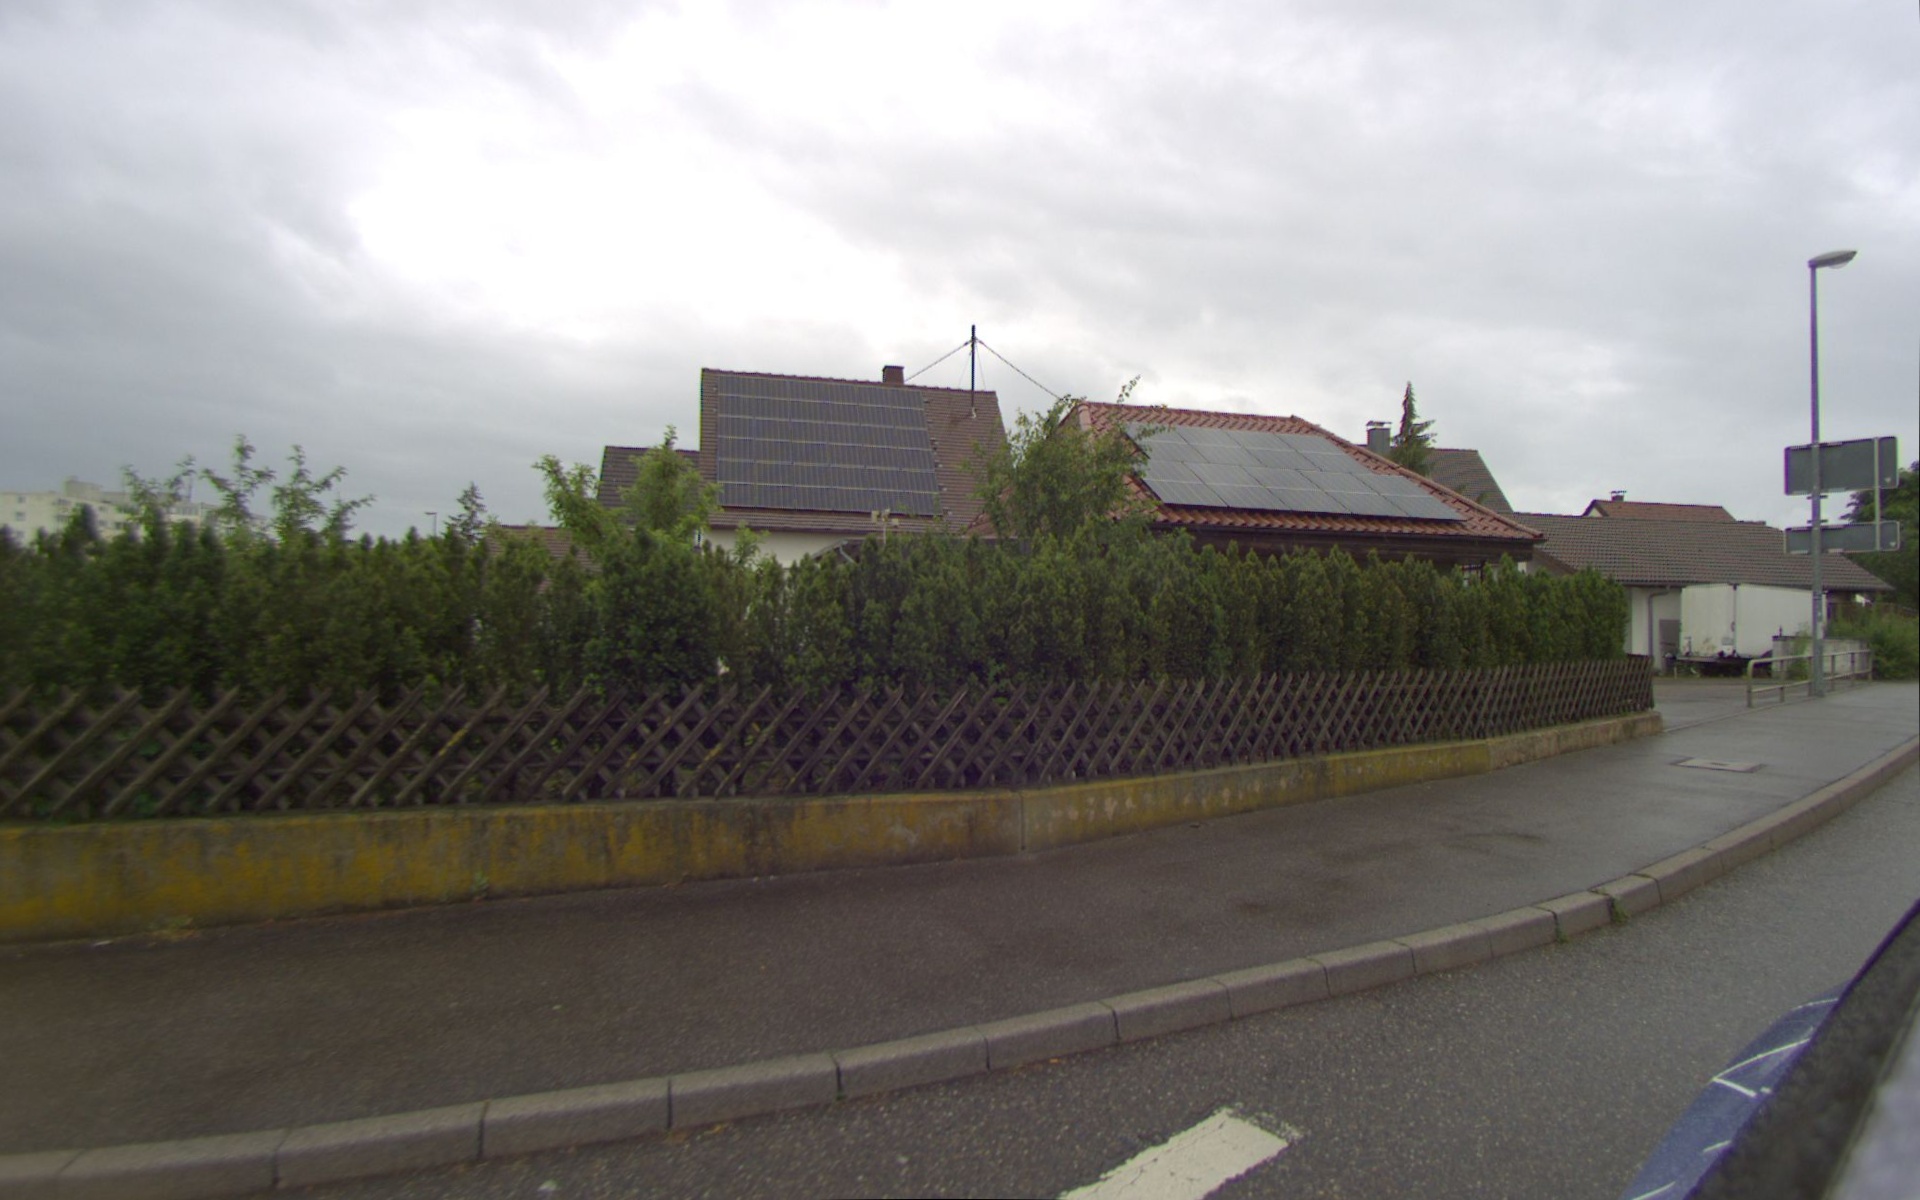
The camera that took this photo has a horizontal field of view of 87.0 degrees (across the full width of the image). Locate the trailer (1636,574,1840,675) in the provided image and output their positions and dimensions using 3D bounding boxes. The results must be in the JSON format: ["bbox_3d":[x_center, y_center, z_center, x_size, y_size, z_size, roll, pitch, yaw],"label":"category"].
[{"bbox_3d":[20.618,0.652,26.871,4.605,2.550,1.652,1,-2,-12],"label":"trailer"}]
